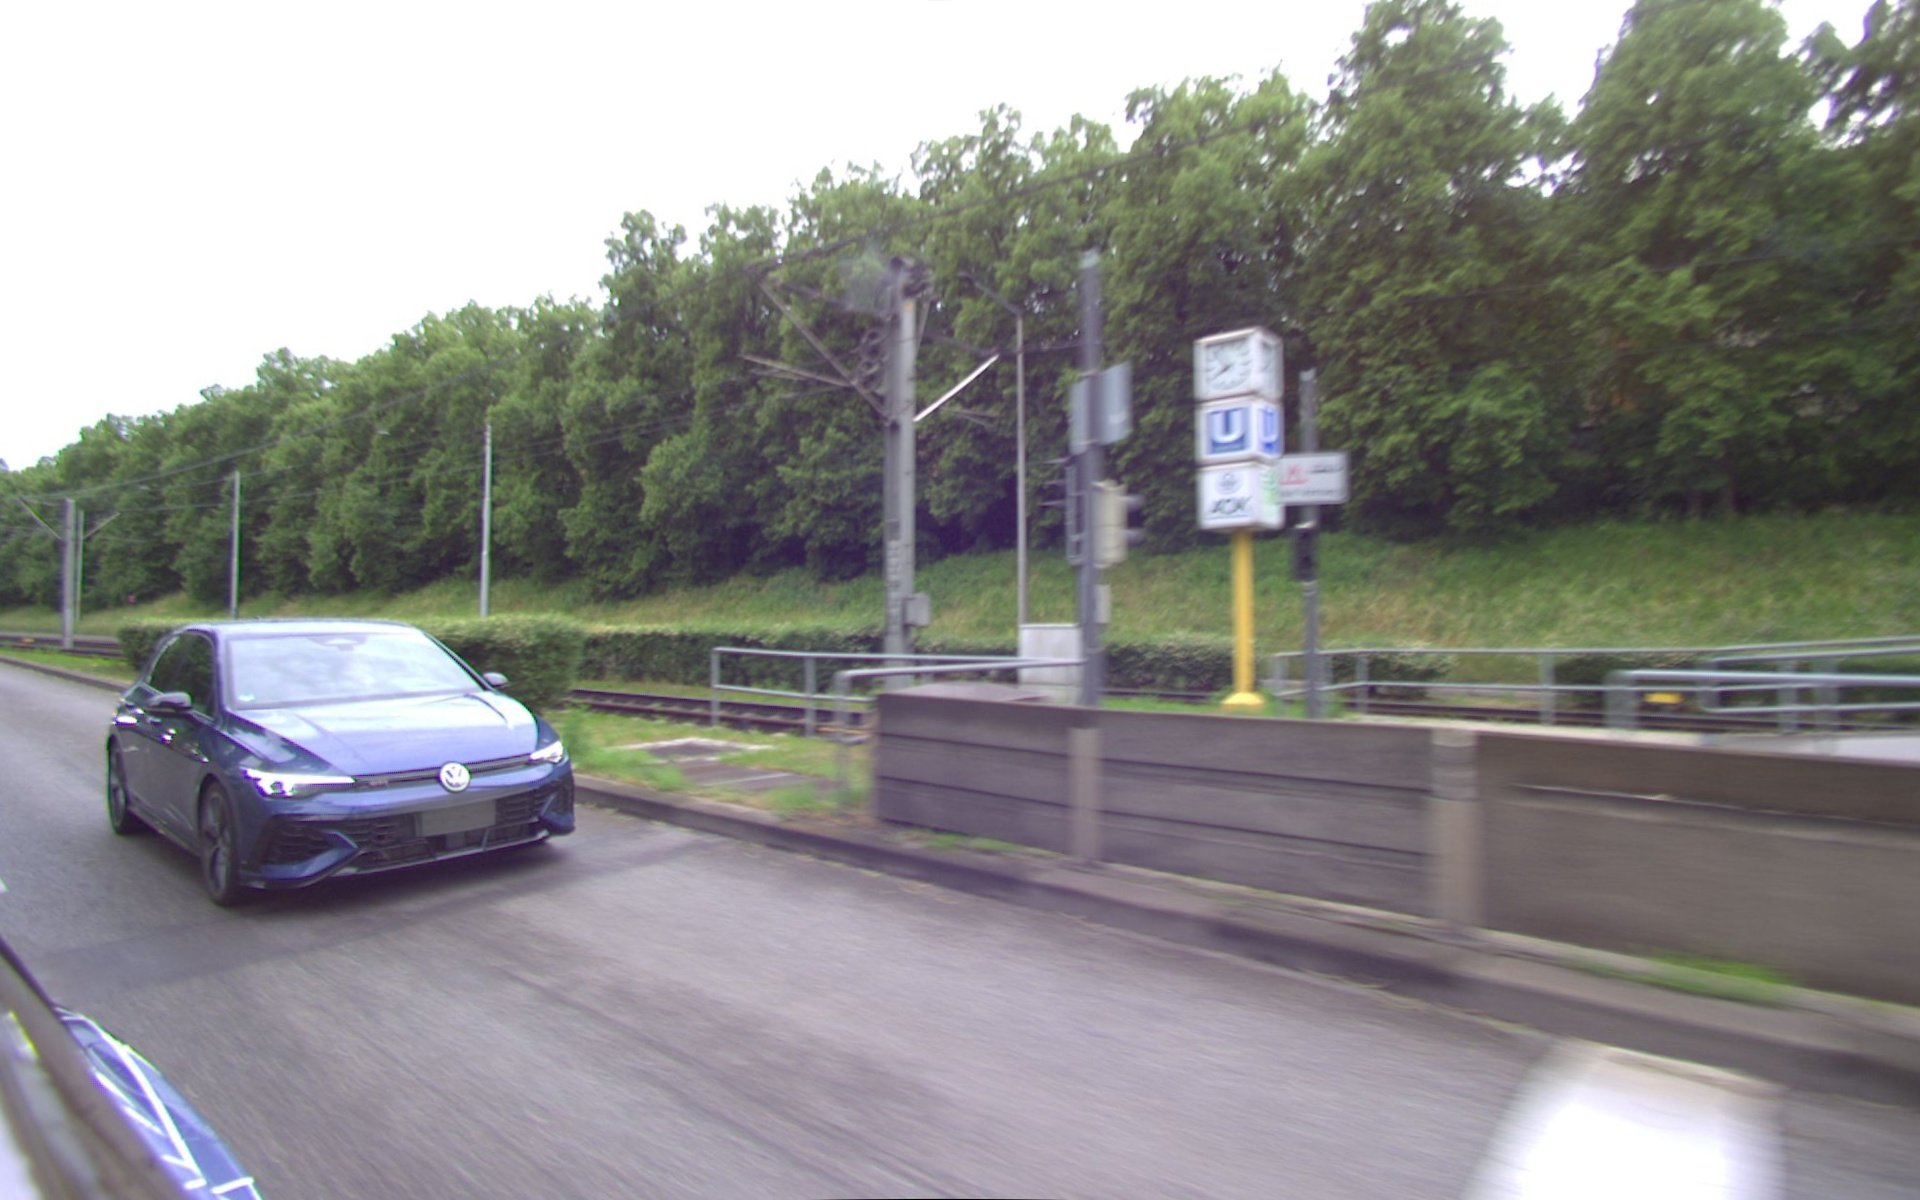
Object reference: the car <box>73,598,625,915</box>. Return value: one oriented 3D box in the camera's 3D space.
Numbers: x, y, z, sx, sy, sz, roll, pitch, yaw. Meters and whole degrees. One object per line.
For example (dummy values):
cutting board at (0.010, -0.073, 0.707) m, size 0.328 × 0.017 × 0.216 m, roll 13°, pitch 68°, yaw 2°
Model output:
car at (-4.158, 0.712, 6.562) m, size 4.344 × 1.389 × 1.790 m, roll -1°, pitch 0°, yaw 40°
